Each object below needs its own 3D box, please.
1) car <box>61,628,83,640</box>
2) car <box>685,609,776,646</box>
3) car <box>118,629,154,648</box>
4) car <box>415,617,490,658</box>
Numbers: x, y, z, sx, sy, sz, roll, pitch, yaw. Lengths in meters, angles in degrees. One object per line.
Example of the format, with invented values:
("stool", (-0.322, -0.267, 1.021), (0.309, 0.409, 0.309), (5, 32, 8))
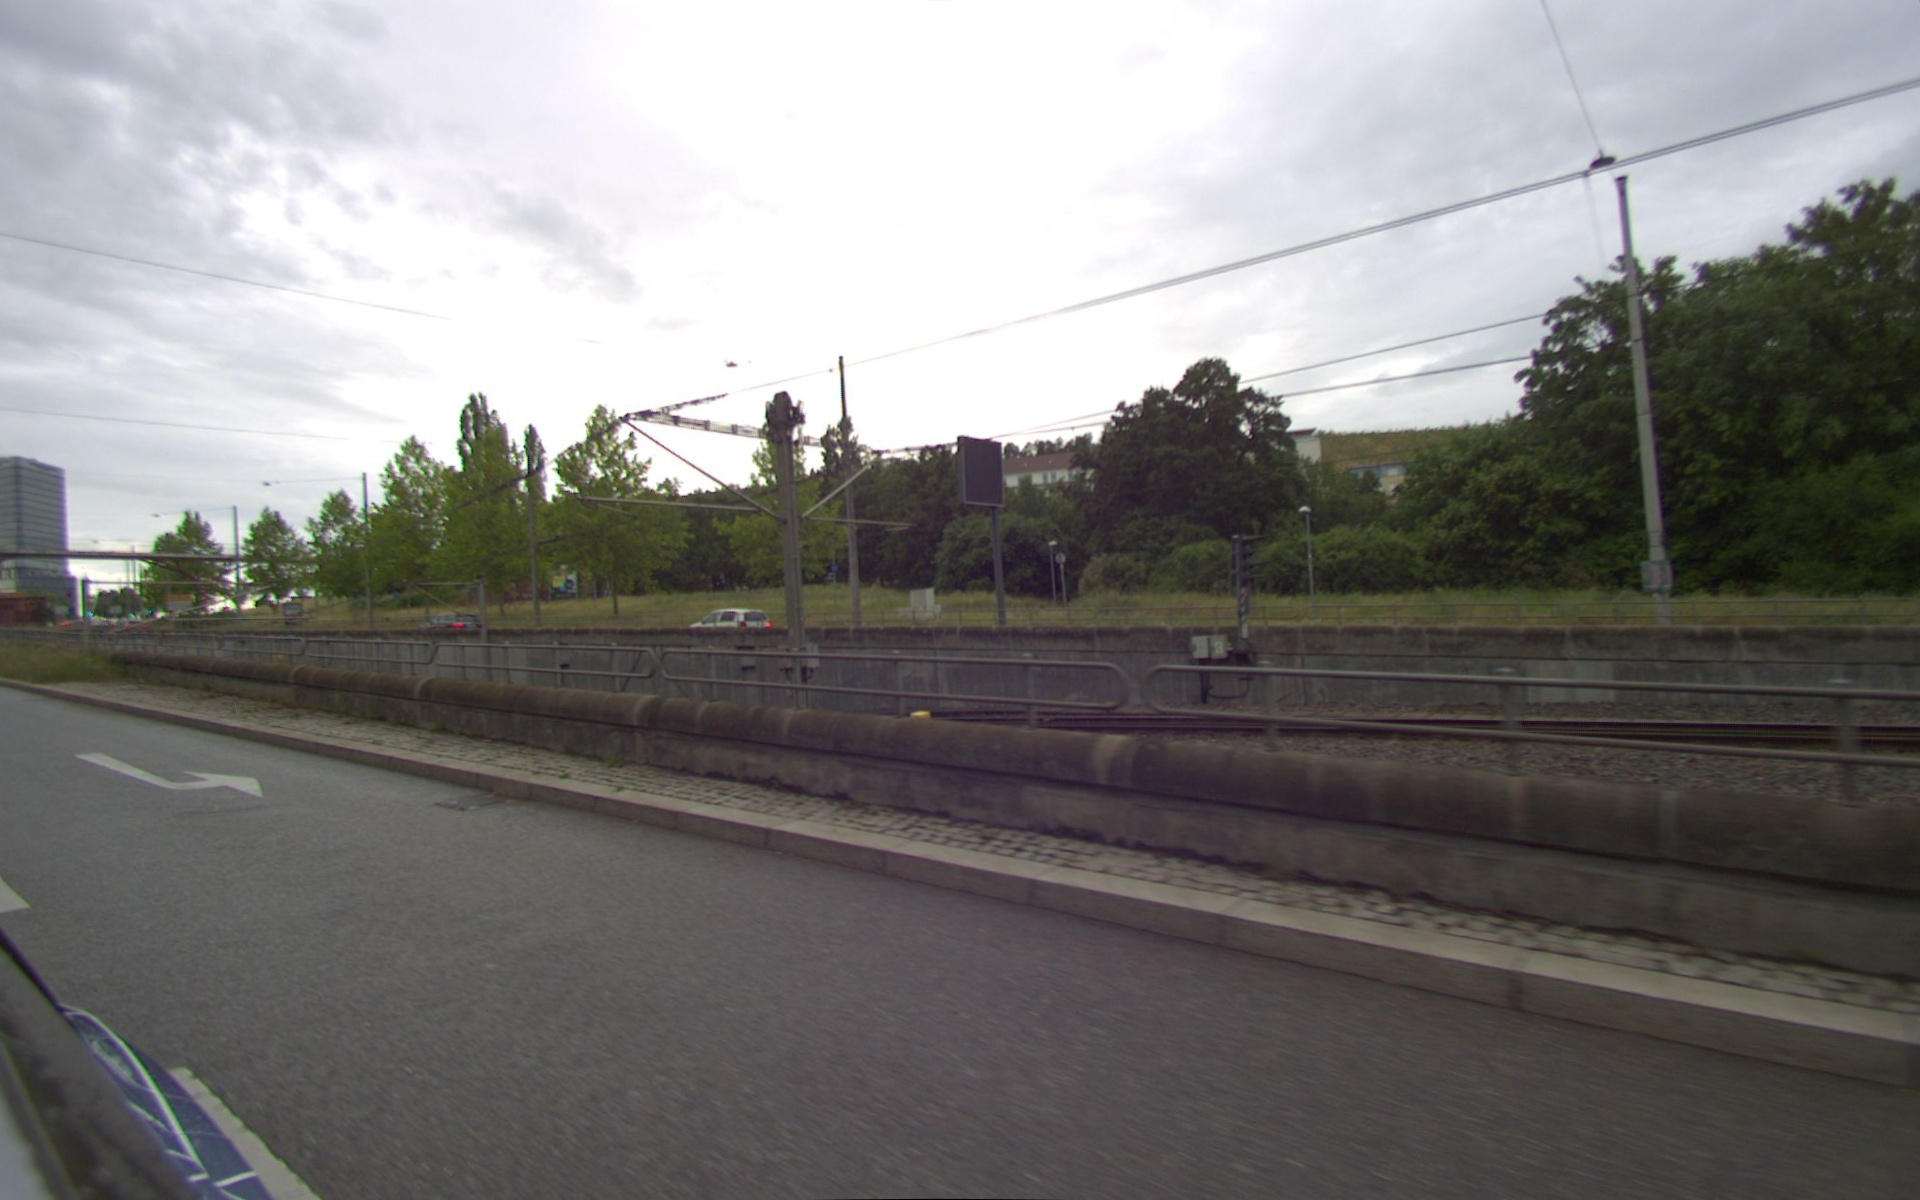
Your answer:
("car", (-126.512, 4.793, 144.168), (4.432, 1.539, 1.640), (-3, 0, 40))
("car", (-8.772, 1.057, 38.500), (3.556, 1.301, 1.539), (-3, 0, 41))
("car", (-79.755, 3.714, 97.906), (4.354, 1.656, 1.872), (-2, 2, 40))
("car", (-27.153, 1.998, 54.112), (4.028, 1.985, 1.874), (-2, 2, 37))
